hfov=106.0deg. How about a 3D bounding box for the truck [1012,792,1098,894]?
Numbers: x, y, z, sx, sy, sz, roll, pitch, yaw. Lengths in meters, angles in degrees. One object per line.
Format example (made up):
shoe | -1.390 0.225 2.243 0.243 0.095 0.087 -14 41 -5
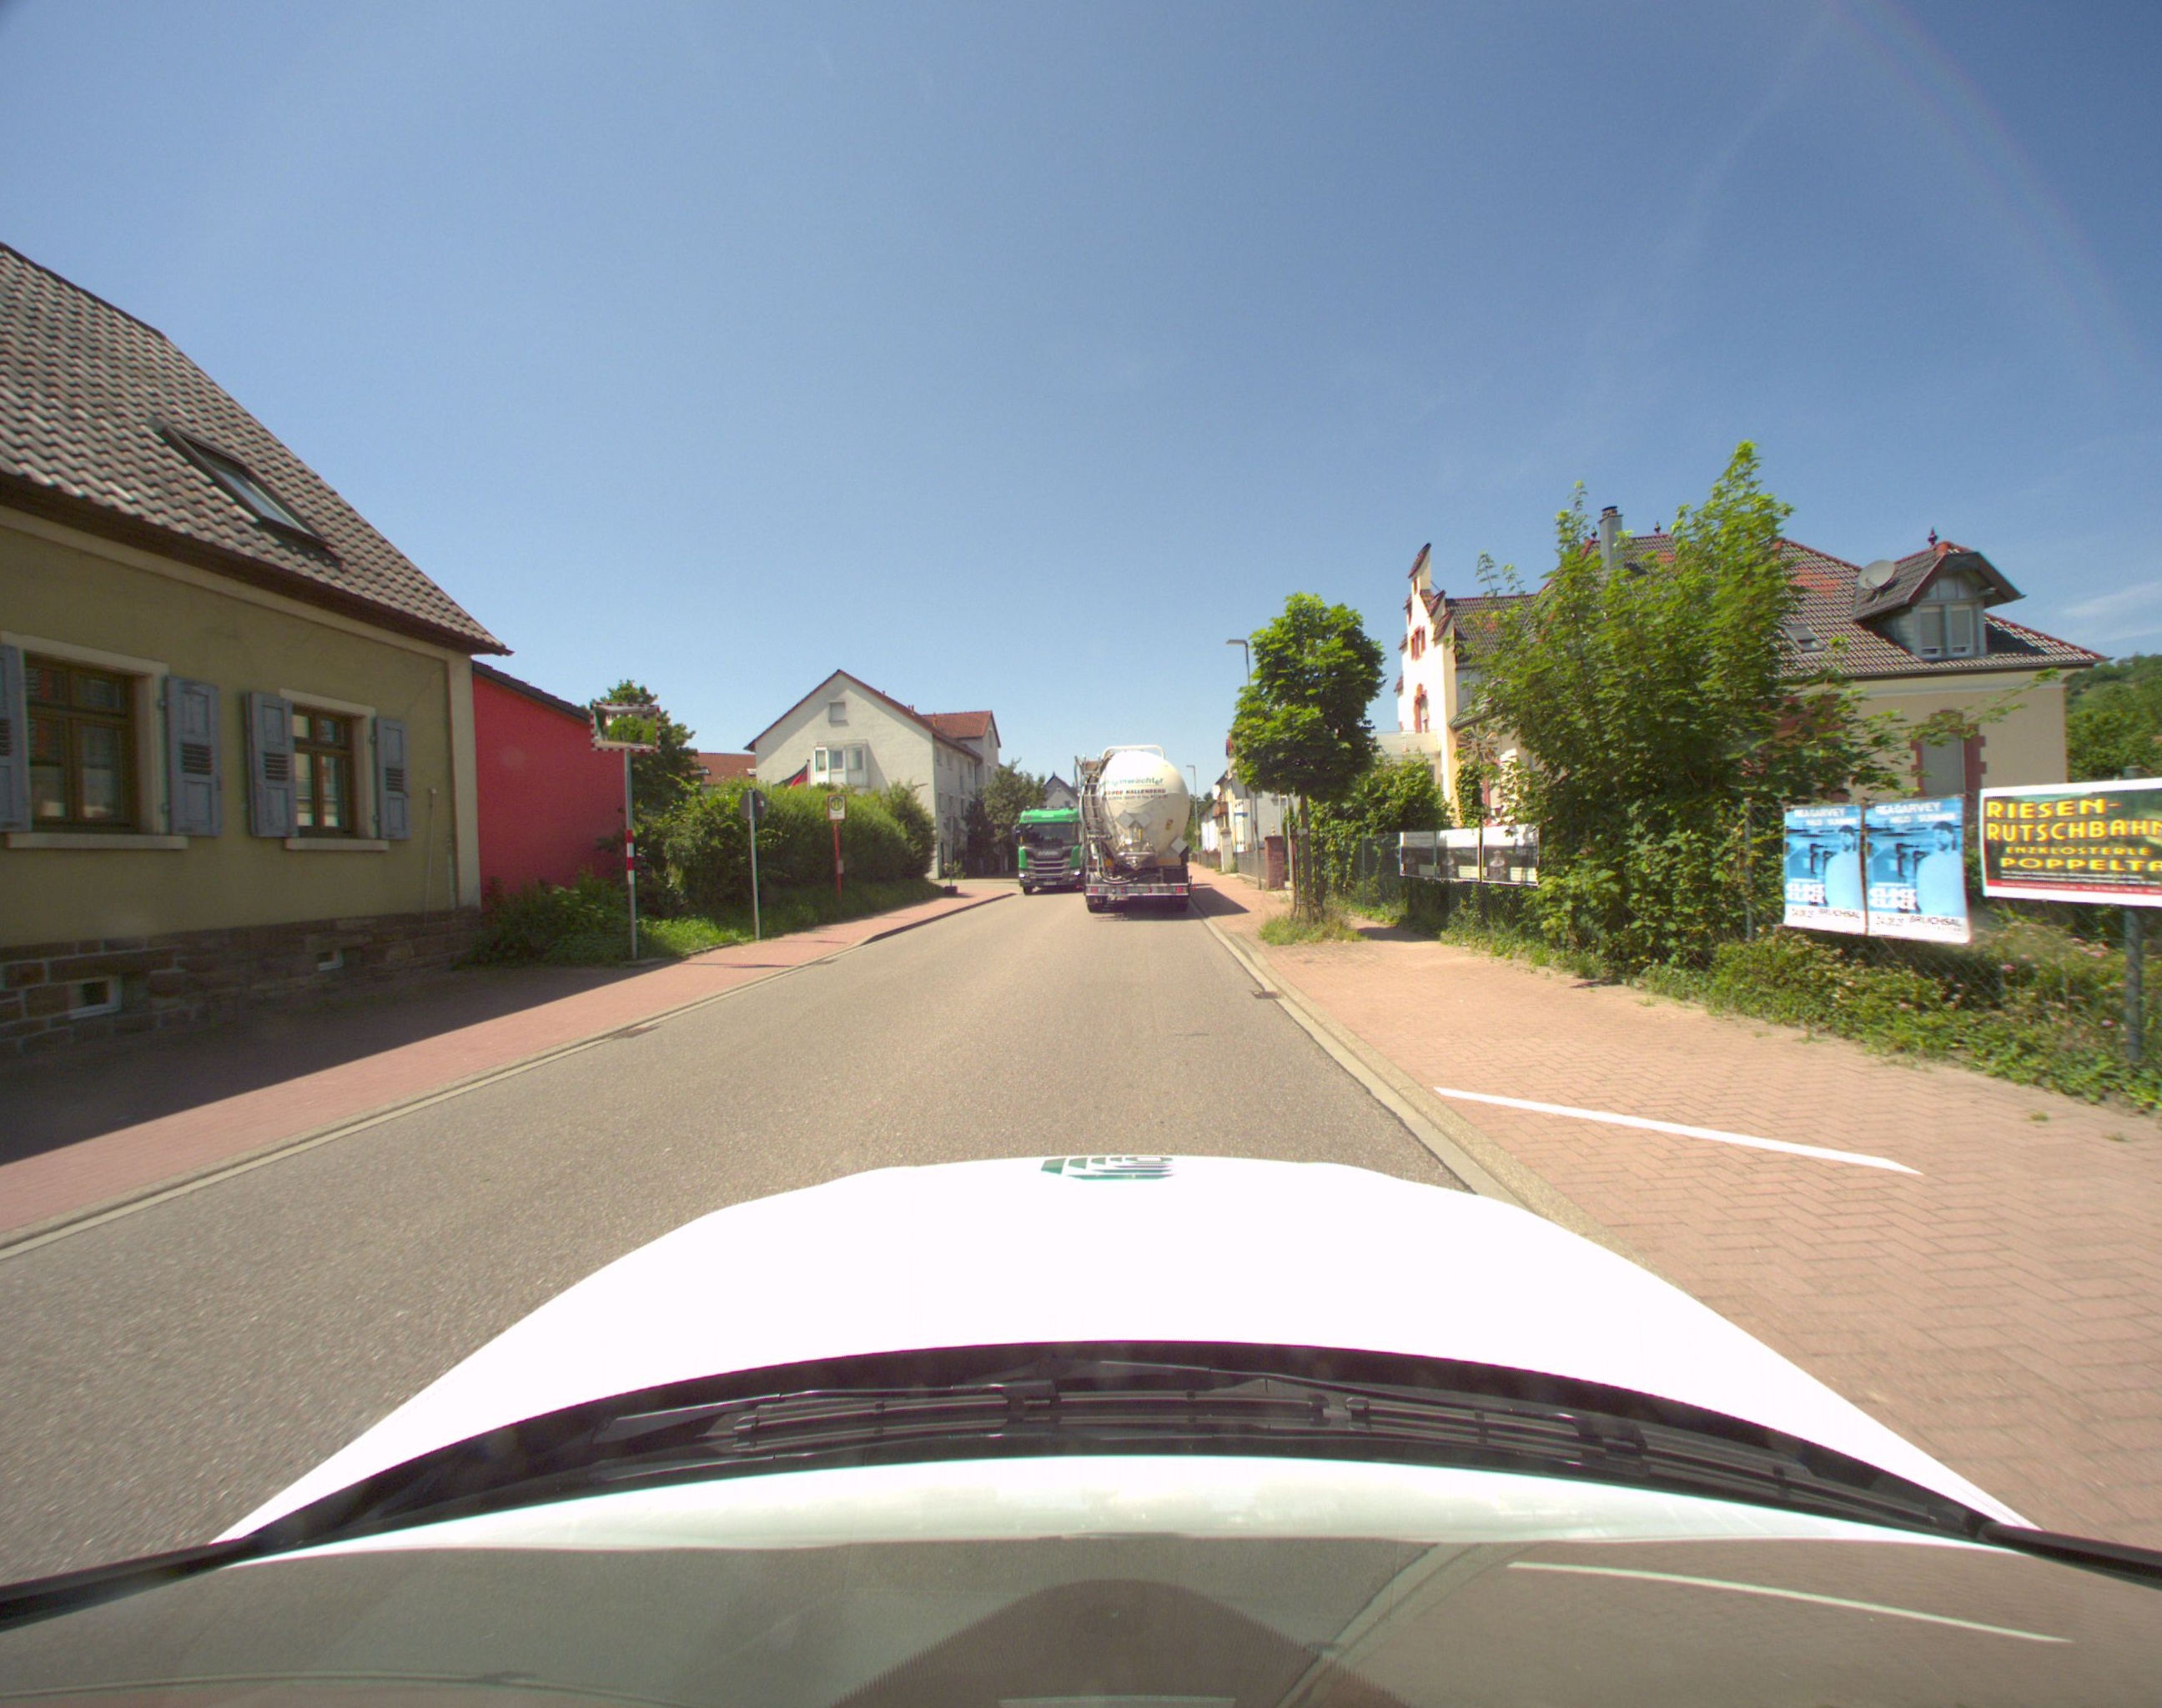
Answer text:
truck | -0.877 -0.451 35.660 2.556 3.700 10.089 -3 0 4

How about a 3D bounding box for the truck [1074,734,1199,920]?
truck | 1.463 -0.615 22.577 2.630 4.015 9.569 -1 0 3
